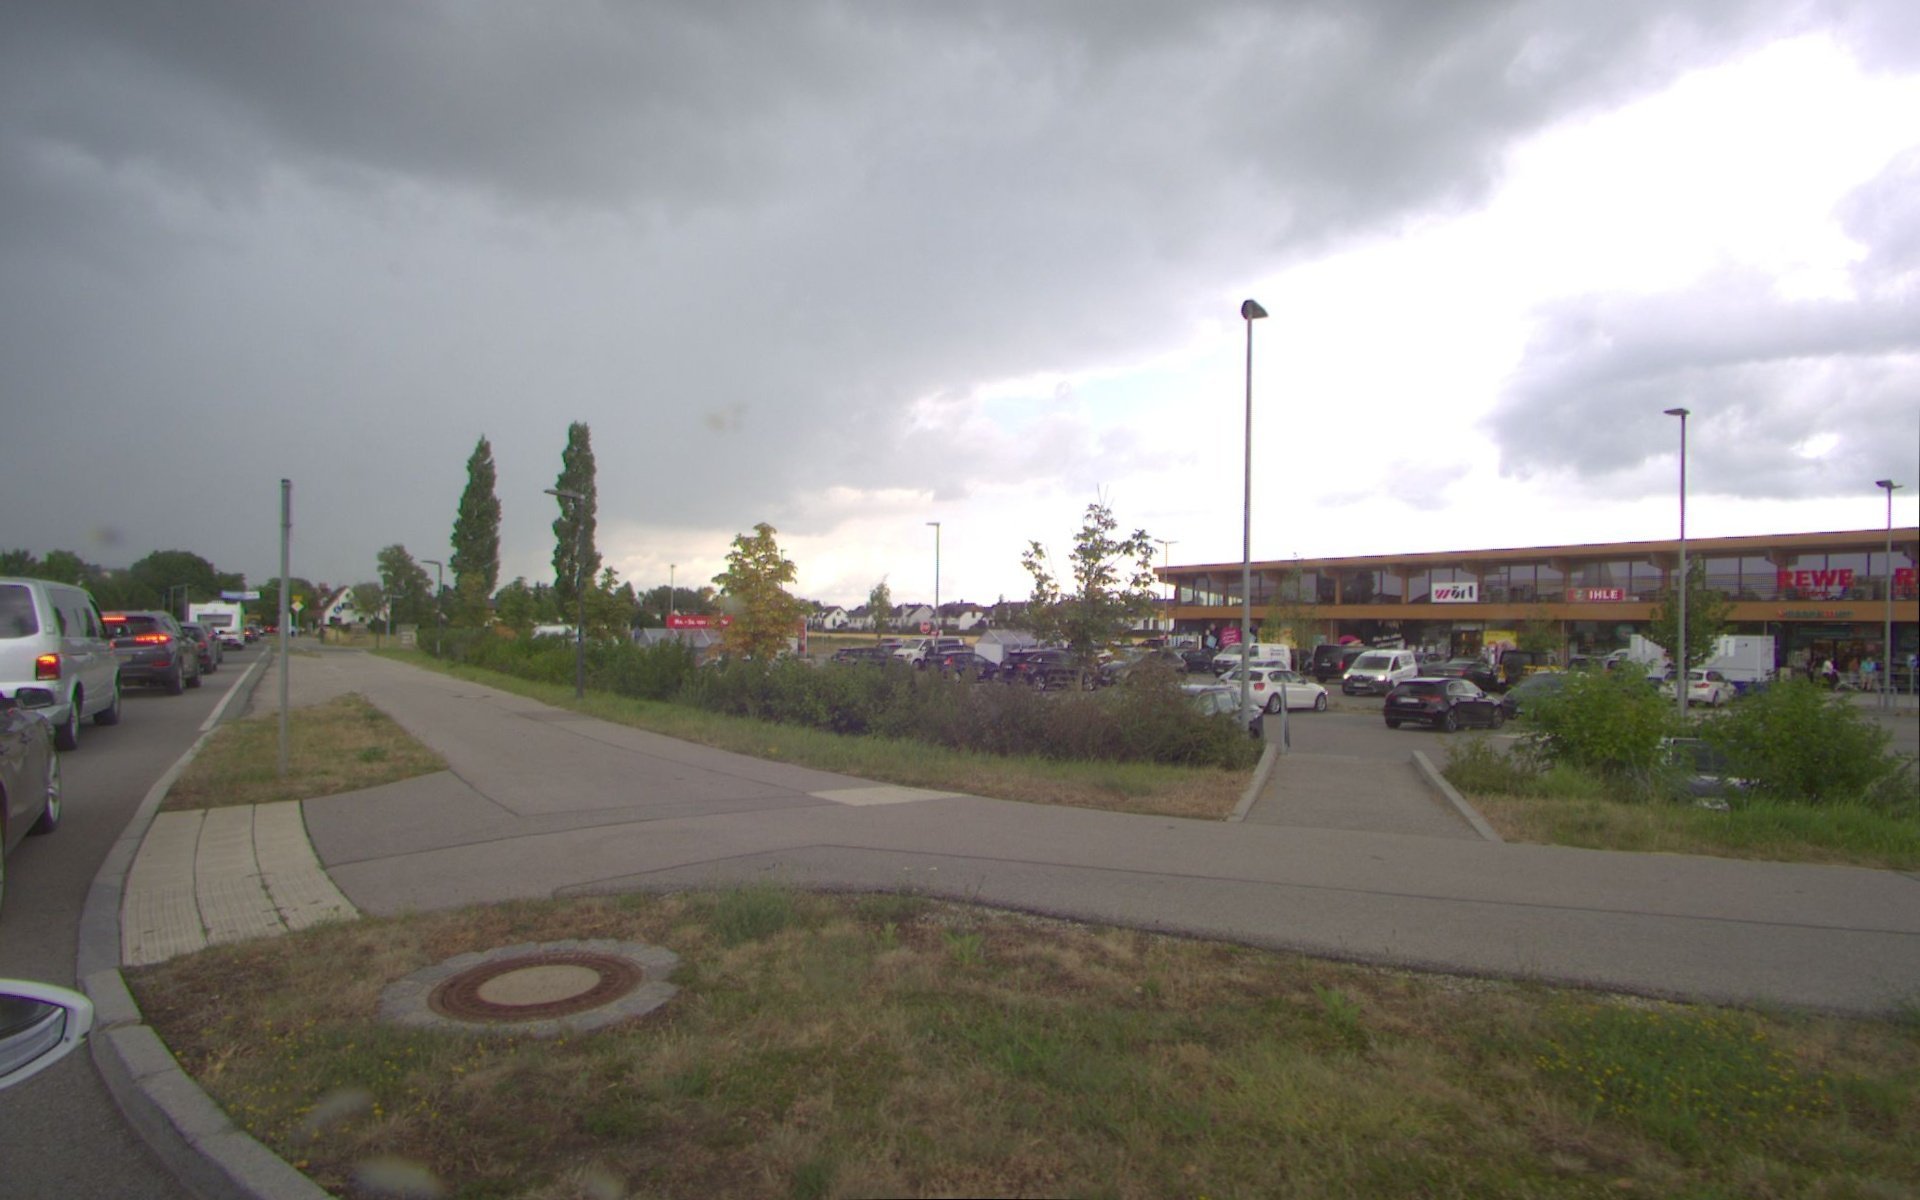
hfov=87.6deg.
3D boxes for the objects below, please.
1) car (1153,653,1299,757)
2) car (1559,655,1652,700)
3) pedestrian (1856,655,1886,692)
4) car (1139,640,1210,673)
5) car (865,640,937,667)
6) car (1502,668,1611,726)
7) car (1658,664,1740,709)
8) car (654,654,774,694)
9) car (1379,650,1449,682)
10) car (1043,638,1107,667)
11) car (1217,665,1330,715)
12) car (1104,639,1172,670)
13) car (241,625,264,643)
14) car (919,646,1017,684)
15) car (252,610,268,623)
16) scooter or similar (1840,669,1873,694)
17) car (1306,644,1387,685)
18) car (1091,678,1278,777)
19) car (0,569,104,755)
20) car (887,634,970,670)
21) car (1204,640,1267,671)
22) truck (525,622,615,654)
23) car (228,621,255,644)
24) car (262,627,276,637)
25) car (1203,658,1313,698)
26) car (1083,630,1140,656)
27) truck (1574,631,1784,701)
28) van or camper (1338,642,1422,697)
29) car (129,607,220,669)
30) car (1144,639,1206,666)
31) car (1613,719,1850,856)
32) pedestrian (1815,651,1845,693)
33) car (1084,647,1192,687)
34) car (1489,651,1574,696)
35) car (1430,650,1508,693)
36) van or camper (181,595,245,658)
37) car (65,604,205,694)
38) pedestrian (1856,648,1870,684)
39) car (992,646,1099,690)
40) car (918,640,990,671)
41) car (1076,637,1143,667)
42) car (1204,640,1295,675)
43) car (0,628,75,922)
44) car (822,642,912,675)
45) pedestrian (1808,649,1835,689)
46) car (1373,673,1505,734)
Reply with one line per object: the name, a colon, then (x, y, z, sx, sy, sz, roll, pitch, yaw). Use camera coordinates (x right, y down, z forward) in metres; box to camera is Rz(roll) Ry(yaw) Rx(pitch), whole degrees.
car: (3.972, 1.466, 14.563, 1.552, 1.221, 3.750, 2, -3, 22)
car: (26.370, 3.145, 40.884, 4.070, 1.746, 1.840, 3, -3, -36)
pedestrian: (42.872, 3.455, 47.139, 0.736, 1.679, 0.805, 1, -1, 13)
car: (13.036, 3.417, 60.752, 3.944, 1.861, 1.989, 2, -2, -31)
car: (-3.707, 3.346, 63.083, 4.269, 1.598, 1.757, 2, -2, -33)
car: (18.544, 2.962, 31.059, 3.957, 1.573, 1.717, 2, -2, -40)
car: (28.572, 3.300, 38.671, 3.957, 1.549, 1.717, 2, -2, -40)
car: (-9.687, 2.879, 39.595, 4.192, 1.458, 1.987, 2, -2, -35)
car: (24.562, 3.568, 54.098, 4.178, 1.632, 1.754, 3, -3, -38)
car: (7.792, 3.528, 67.713, 3.945, 1.861, 1.989, 2, -2, -31)
car: (10.358, 2.917, 32.964, 3.952, 1.503, 1.669, 3, -3, -39)
car: (11.230, 3.440, 63.227, 3.946, 1.861, 1.989, 2, -2, -32)
car: (-66.461, 3.218, 94.097, 1.598, 1.651, 3.594, 2, -2, -33)
car: (0.398, 3.053, 47.746, 4.362, 1.686, 1.987, 2, -2, -35)
car: (-126.003, 2.996, 180.368, 1.972, 2.240, 3.980, 2, -2, -30)
scooter or similar: (41.808, 3.797, 46.688, 0.785, 1.140, 0.996, 5, -3, -36)
car: (19.797, 3.303, 51.306, 3.952, 1.860, 1.987, 5, -4, -35)
car: (4.587, 2.471, 20.139, 3.961, 1.628, 1.774, 3, -2, -43)
car: (-11.584, 0.670, 11.906, 1.851, 1.959, 3.970, 2, -2, -37)
car: (-1.883, 3.153, 61.069, 1.979, 2.040, 5.078, 1, 0, 45)
car: (17.658, 3.539, 64.115, 4.065, 1.918, 1.785, 2, -2, -36)
truck: (-24.088, 2.364, 61.925, 4.758, 1.896, 1.984, 3, -3, -39)
car: (-58.844, 2.667, 82.014, 1.598, 1.816, 3.975, 2, -2, -33)
car: (-99.300, 4.547, 143.923, 1.598, 1.427, 3.594, 2, -2, -33)
car: (12.412, 3.193, 41.570, 4.729, 1.503, 1.891, 2, -2, -35)
car: (11.265, 3.210, 74.421, 3.944, 1.864, 1.865, 2, -2, -31)
truck: (32.185, 2.861, 45.085, 2.943, 2.843, 7.199, 2, -2, -39)
van or camper: (17.517, 2.816, 41.656, 1.746, 2.125, 4.766, 0, -2, 42)
car: (-22.365, 1.069, 28.644, 1.759, 1.638, 3.974, 1, -2, -34)
car: (14.806, 3.627, 69.013, 3.947, 1.794, 1.988, 2, -2, -33)
car: (10.921, 2.568, 14.485, 1.552, 1.389, 3.728, 1, -2, 18)
pedestrian: (41.269, 3.424, 47.481, 0.785, 1.921, 0.922, 4, -3, -36)
car: (8.180, 3.037, 45.891, 4.928, 1.686, 1.987, 2, -2, -35)
car: (25.144, 3.210, 44.018, 3.950, 1.878, 1.761, 3, -2, -35)
car: (23.579, 3.259, 46.352, 3.956, 1.878, 1.758, 2, -2, -39)
van or camper: (-42.299, 1.565, 56.869, 2.600, 3.365, 6.778, 2, -3, -35)
car: (-16.551, 0.943, 20.277, 1.759, 1.638, 3.974, 2, -2, -34)
pedestrian: (50.757, 3.714, 56.279, 0.520, 1.974, 0.573, 1, -1, -43)
car: (3.663, 2.886, 42.596, 4.410, 1.727, 1.792, 3, -3, -35)
car: (-0.341, 3.208, 58.210, 3.950, 1.727, 1.705, 3, -2, -35)
car: (9.782, 3.411, 65.507, 3.944, 1.861, 1.989, 2, -2, -31)
car: (16.032, 3.190, 55.373, 5.237, 1.854, 1.987, 3, -3, -35)
car: (-5.954, 0.862, 5.128, 1.768, 1.409, 4.102, 1, -1, -37)
car: (-5.068, 3.154, 54.576, 4.513, 1.686, 1.987, 2, -2, -35)
pedestrian: (44.133, 3.524, 51.314, 0.797, 2.039, 0.924, 1, -1, -40)
car: (13.317, 2.799, 27.742, 3.955, 1.416, 1.822, 2, -2, -39)
